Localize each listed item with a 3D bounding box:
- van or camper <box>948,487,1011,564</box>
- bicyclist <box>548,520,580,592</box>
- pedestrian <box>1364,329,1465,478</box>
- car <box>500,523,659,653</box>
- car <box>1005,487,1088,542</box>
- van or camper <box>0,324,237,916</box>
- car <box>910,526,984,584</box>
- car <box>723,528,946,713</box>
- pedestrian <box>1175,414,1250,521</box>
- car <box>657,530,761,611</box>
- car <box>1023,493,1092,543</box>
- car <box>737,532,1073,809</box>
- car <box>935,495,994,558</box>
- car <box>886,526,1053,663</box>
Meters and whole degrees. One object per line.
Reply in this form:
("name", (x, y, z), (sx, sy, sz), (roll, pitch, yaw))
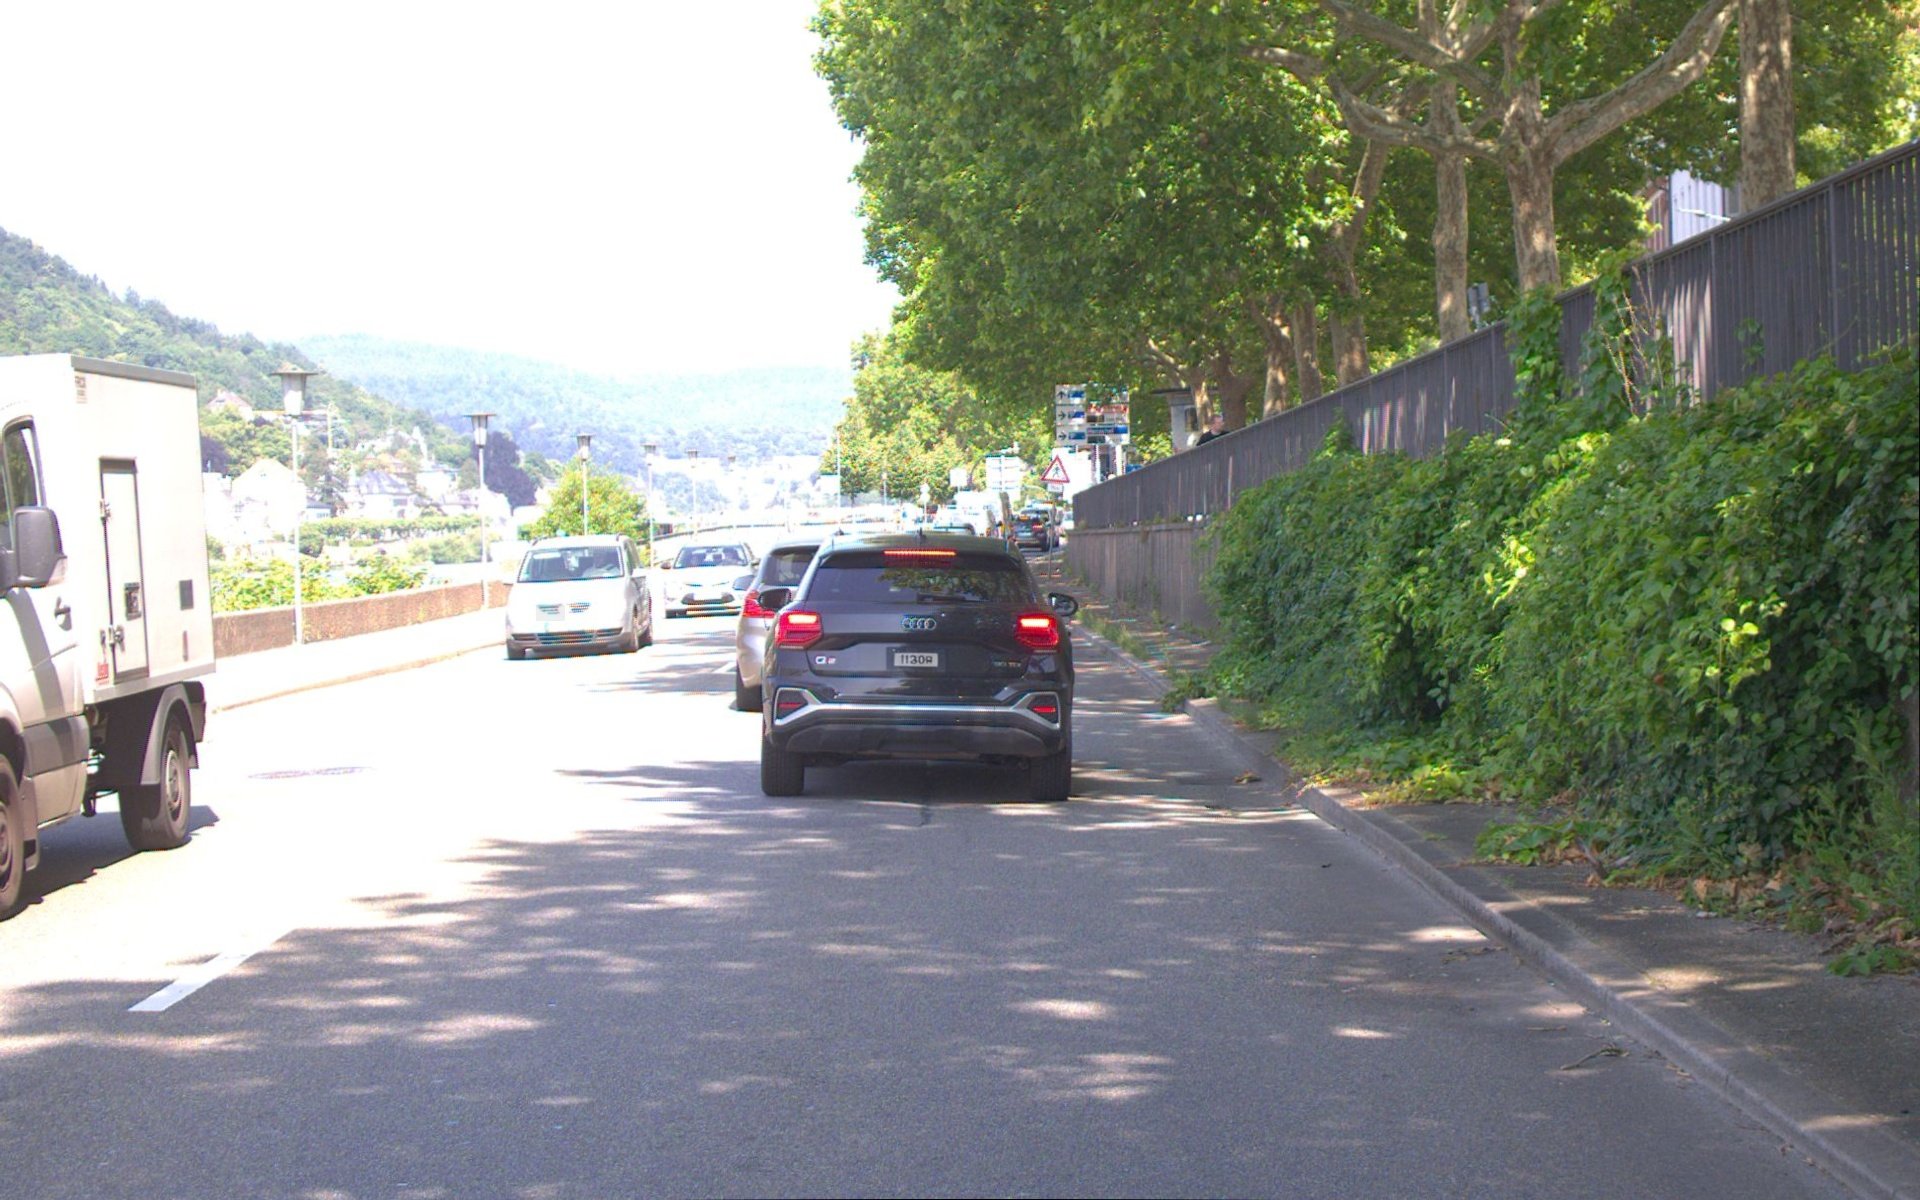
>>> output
("van or camper", (0.766, -2.868, 132.274), (2.310, 2.837, 4.246), (-2, 1, 1))
("bicyclist", (-9.343, -1.047, 81.136), (0.637, 1.668, 0.871), (-2, 1, -1))
("pedestrian", (4.392, -1.897, 33.283), (0.753, 1.361, 0.814), (-4, 1, -2))
("car", (-5.247, -0.205, 47.837), (1.731, 1.644, 4.178), (-3, 1, -1))
("car", (3.595, -3.566, 143.646), (3.098, 2.006, 5.825), (-4, 1, -1))
("van or camper", (-4.943, 0.088, 15.620), (2.077, 2.390, 5.385), (-4, 1, 0))
("car", (-0.347, -1.163, 87.570), (1.828, 1.439, 4.000), (-1, 1, -1))
("car", (-1.076, 0.129, 30.526), (1.828, 1.506, 4.000), (-1, 1, -1))
("pedestrian", (3.905, -2.046, 53.224), (0.936, 1.574, 1.028), (-4, 1, -2))
("car", (-4.853, -0.600, 66.851), (1.731, 1.437, 4.046), (-3, 1, -1))
("car", (4.343, -3.677, 154.034), (2.661, 2.006, 5.825), (-4, 1, -1))
("car", (-0.334, 0.347, 20.843), (1.828, 1.481, 4.000), (-1, 1, -1))
("car", (0.148, -2.607, 121.285), (1.993, 2.162, 4.001), (-1, 2, -1))
("car", (0.075, -0.101, 39.923), (1.828, 1.481, 4.000), (-1, 1, -1))
